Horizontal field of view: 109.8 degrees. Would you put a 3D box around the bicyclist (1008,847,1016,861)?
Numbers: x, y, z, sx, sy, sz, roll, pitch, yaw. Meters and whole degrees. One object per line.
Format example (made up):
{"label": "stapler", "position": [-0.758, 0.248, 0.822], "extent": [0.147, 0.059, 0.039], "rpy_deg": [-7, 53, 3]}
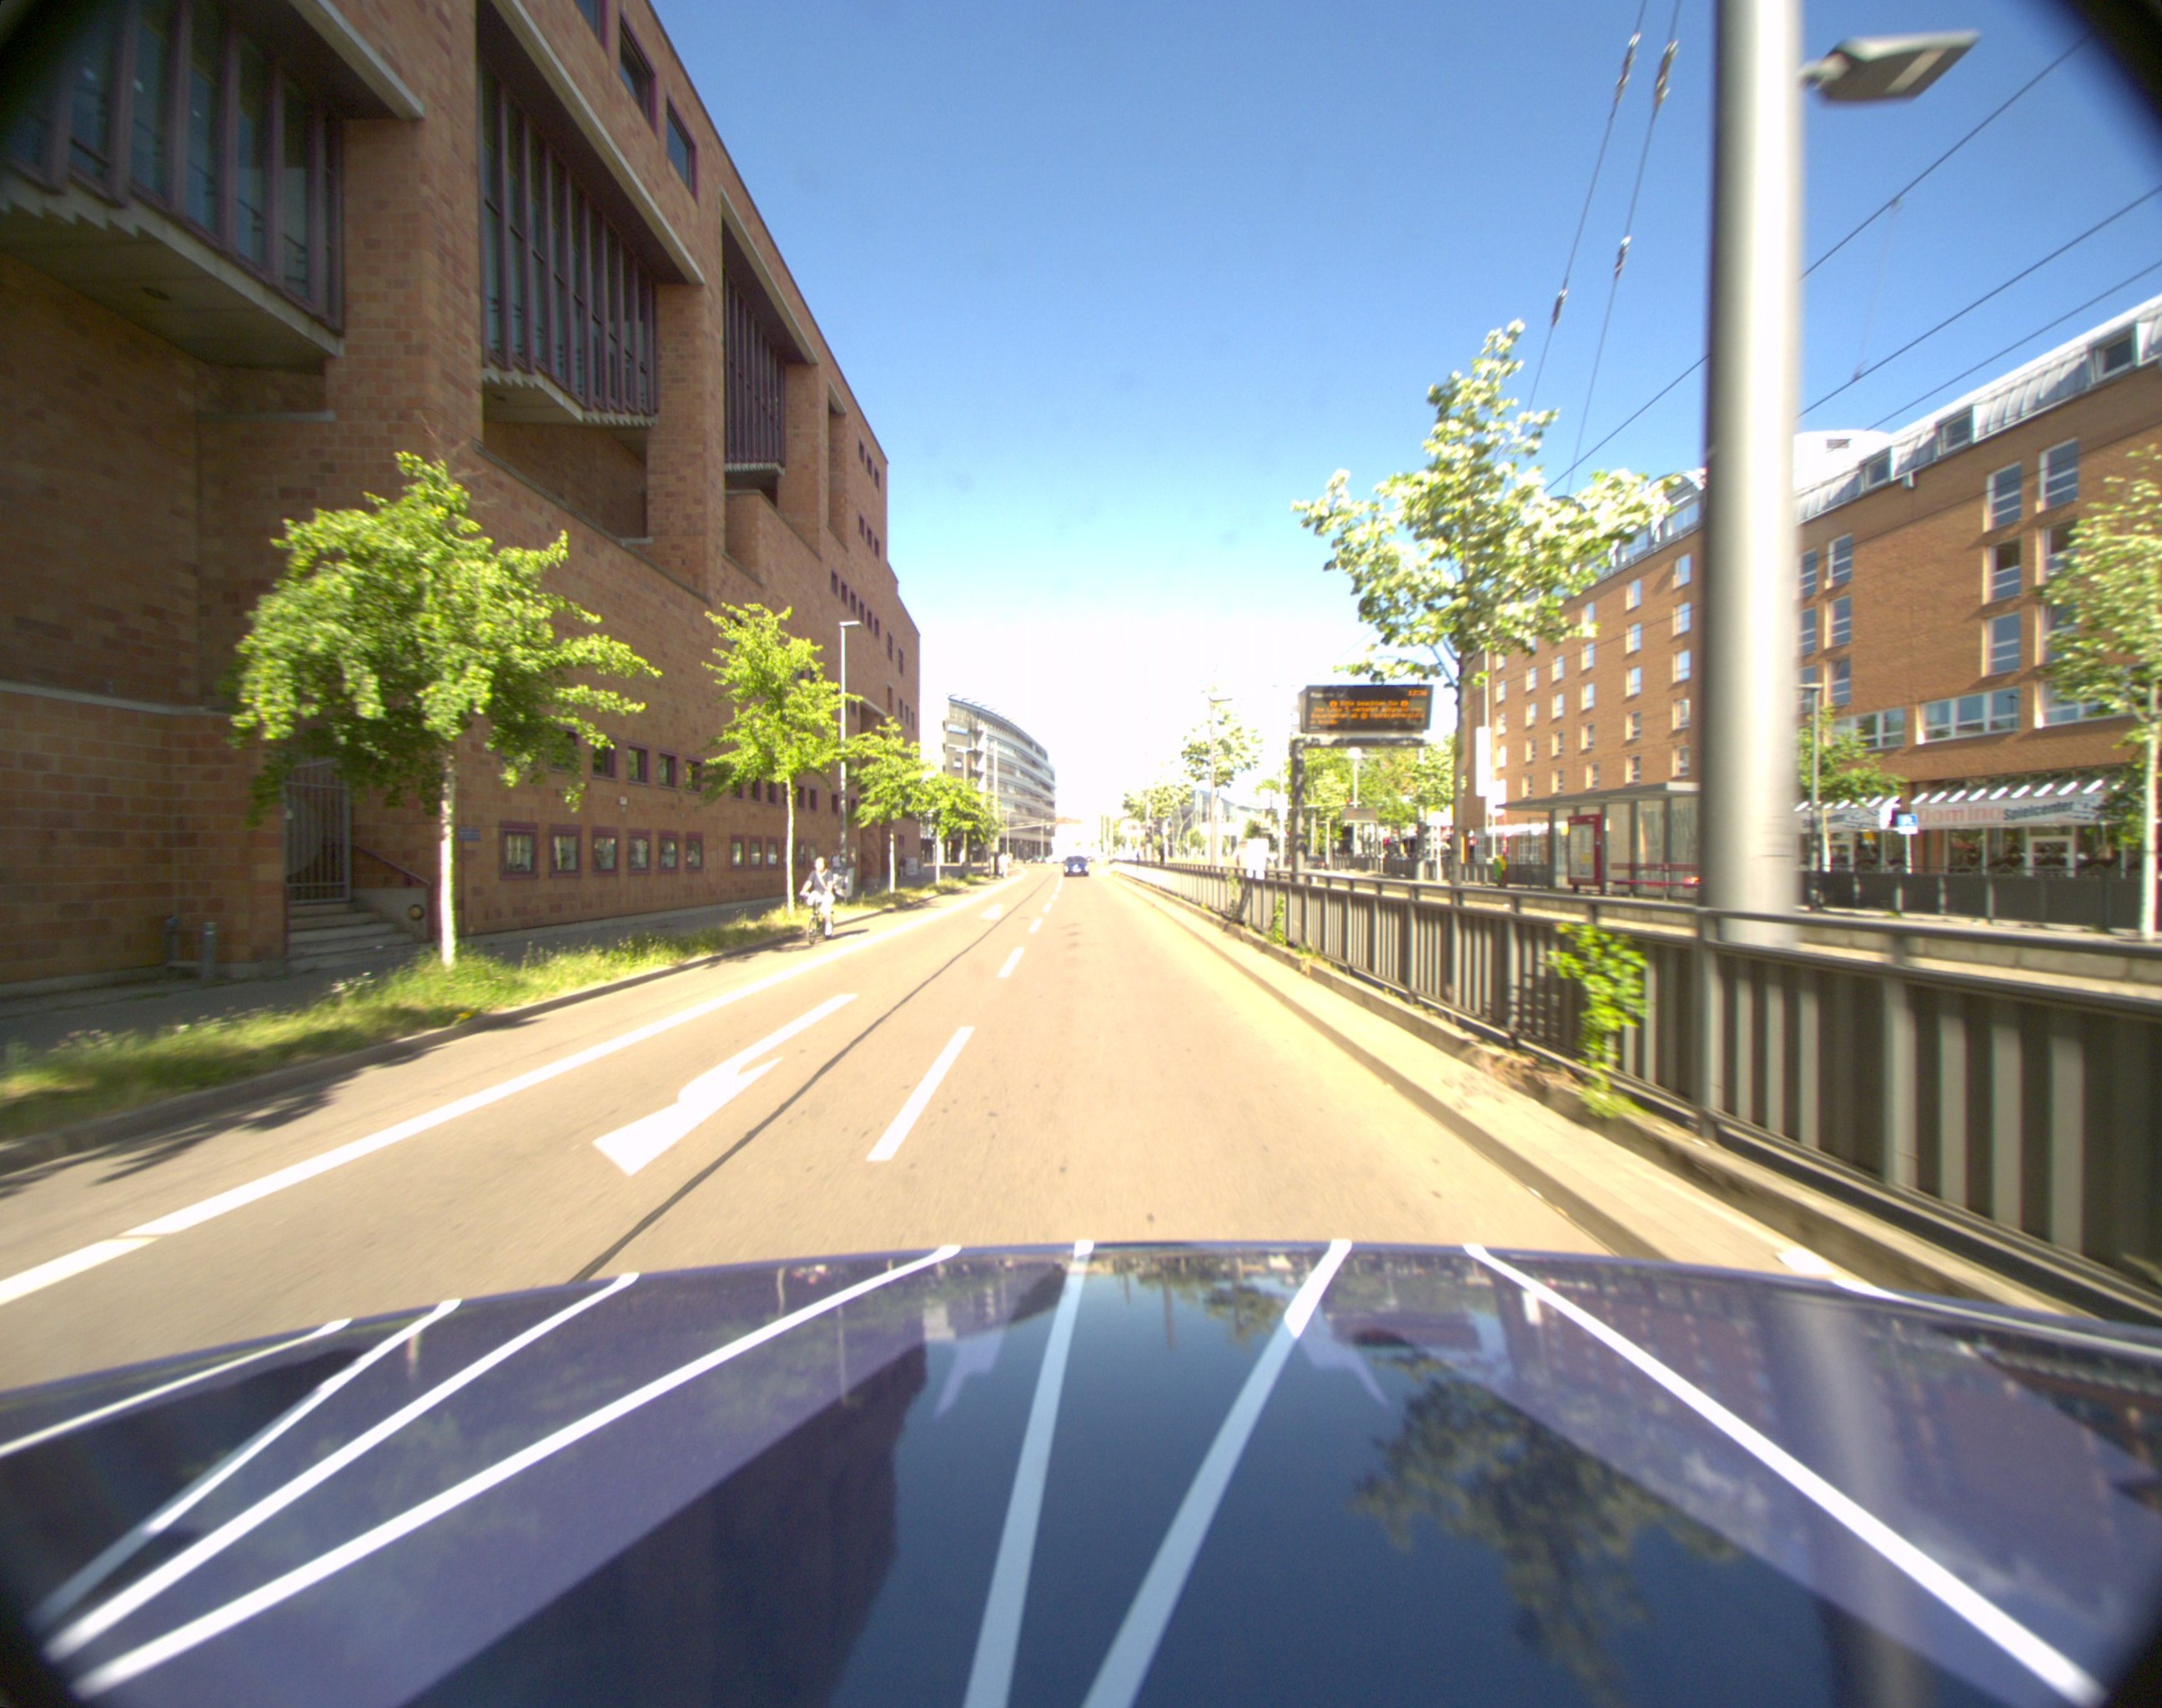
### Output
{"label": "bicyclist", "position": [-7.870, 0.038, 87.211], "extent": [0.755, 1.607, 0.762], "rpy_deg": [-2, 1, 3]}

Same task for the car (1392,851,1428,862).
{"label": "car", "position": [45.682, 0.311, 105.487], "extent": [4.169, 1.499, 1.910], "rpy_deg": [0, 1, 3]}

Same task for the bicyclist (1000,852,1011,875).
{"label": "bicyclist", "position": [-5.647, 0.685, 56.941], "extent": [0.684, 1.718, 0.909], "rpy_deg": [-2, 1, 3]}

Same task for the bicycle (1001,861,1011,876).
{"label": "bicycle", "position": [-5.630, 1.057, 57.116], "extent": [0.578, 1.090, 1.507], "rpy_deg": [-2, 0, 2]}

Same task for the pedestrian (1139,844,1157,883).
{"label": "pedestrian", "position": [2.983, 0.414, 33.728], "extent": [0.748, 1.738, 0.715], "rpy_deg": [0, 1, 0]}

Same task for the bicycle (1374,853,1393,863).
{"label": "bicycle", "position": [32.049, 0.433, 80.477], "extent": [1.838, 1.093, 0.638], "rpy_deg": [0, 1, 9]}

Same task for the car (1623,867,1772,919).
{"label": "car", "position": [21.068, 1.271, 26.193], "extent": [1.883, 1.456, 3.999], "rpy_deg": [-2, 1, -1]}

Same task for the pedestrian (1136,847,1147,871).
{"label": "pedestrian", "position": [4.365, 0.365, 54.719], "extent": [0.649, 1.764, 0.820], "rpy_deg": [0, 1, -3]}

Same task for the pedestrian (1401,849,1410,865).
{"label": "pedestrian", "position": [35.752, 0.345, 83.742], "extent": [0.645, 1.696, 0.728], "rpy_deg": [0, 1, 4]}

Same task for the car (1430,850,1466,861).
{"label": "car", "position": [50.772, 0.247, 105.116], "extent": [3.996, 1.499, 1.910], "rpy_deg": [0, 1, 3]}

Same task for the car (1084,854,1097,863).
{"label": "car", "position": [1.692, 0.820, 139.797], "extent": [1.882, 1.456, 4.002], "rpy_deg": [-1, 1, 8]}

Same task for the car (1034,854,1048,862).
{"label": "car", "position": [-7.270, 0.713, 139.283], "extent": [1.882, 1.456, 4.001], "rpy_deg": [-2, 1, 7]}

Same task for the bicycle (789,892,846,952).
{"label": "bicycle", "position": [-5.143, 1.301, 14.908], "extent": [0.559, 1.021, 1.507], "rpy_deg": [-2, 0, 0]}

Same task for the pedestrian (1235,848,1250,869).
{"label": "pedestrian", "position": [12.754, 0.364, 60.043], "extent": [0.960, 1.680, 1.007], "rpy_deg": [0, 1, 2]}

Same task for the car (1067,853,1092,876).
{"label": "car", "position": [-0.092, 0.744, 56.486], "extent": [1.802, 1.597, 3.999], "rpy_deg": [-2, 1, 0]}

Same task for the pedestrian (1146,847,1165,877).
{"label": "pedestrian", "position": [4.610, 0.488, 47.149], "extent": [0.994, 1.800, 1.022], "rpy_deg": [0, 1, -3]}

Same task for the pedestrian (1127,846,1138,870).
{"label": "pedestrian", "position": [3.705, 0.304, 54.676], "extent": [0.649, 1.733, 0.820], "rpy_deg": [0, 1, -3]}

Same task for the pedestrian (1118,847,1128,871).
{"label": "pedestrian", "position": [2.996, 0.362, 54.350], "extent": [0.649, 1.733, 0.820], "rpy_deg": [0, 1, -3]}

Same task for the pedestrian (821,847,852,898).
{"label": "pedestrian", "position": [-9.048, 0.674, 28.123], "extent": [0.790, 1.872, 1.106], "rpy_deg": [0, 1, 0]}

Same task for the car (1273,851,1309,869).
{"label": "car", "position": [17.908, 0.497, 64.900], "extent": [1.936, 1.489, 4.288], "rpy_deg": [0, 1, 1]}

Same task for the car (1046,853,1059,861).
{"label": "car", "position": [-5.498, 0.540, 146.583], "extent": [1.882, 1.456, 4.001], "rpy_deg": [-2, 1, 7]}

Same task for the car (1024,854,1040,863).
{"label": "car", "position": [-8.443, 0.802, 131.085], "extent": [1.882, 1.456, 4.001], "rpy_deg": [-2, 1, 7]}

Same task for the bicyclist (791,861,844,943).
{"label": "bicyclist", "position": [-5.159, 0.917, 14.940], "extent": [0.659, 1.528, 0.909], "rpy_deg": [-2, 1, 0]}

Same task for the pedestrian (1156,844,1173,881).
{"label": "pedestrian", "position": [3.971, 0.395, 36.181], "extent": [0.710, 1.713, 0.752], "rpy_deg": [0, 1, -1]}

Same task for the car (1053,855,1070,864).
{"label": "car", "position": [-3.345, 0.908, 129.842], "extent": [2.120, 1.547, 4.002], "rpy_deg": [0, 1, 9]}

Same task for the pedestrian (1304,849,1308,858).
{"label": "pedestrian", "position": [36.097, -0.095, 121.851], "extent": [0.663, 1.389, 0.672], "rpy_deg": [0, 1, 12]}

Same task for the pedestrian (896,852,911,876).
{"label": "pedestrian", "position": [-11.752, 0.670, 50.442], "extent": [0.790, 1.610, 0.976], "rpy_deg": [0, 1, -2]}

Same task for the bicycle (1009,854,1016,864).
{"label": "bicycle", "position": [-7.854, 0.562, 87.280], "extent": [0.578, 1.090, 1.507], "rpy_deg": [-2, 0, 3]}

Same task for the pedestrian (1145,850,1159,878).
{"label": "pedestrian", "position": [4.633, 0.627, 49.447], "extent": [0.756, 1.800, 0.840], "rpy_deg": [0, 1, -3]}

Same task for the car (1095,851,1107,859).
{"label": "car", "position": [3.978, 0.185, 151.320], "extent": [1.882, 1.456, 4.001], "rpy_deg": [-2, 1, 7]}

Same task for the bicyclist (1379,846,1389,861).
{"label": "bicyclist", "position": [32.086, -0.050, 80.481], "extent": [0.848, 1.630, 0.779], "rpy_deg": [0, 1, 10]}

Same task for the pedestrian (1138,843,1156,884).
{"label": "pedestrian", "position": [2.998, 0.429, 34.482], "extent": [0.748, 1.874, 0.715], "rpy_deg": [0, 1, 0]}

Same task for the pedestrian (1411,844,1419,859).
{"label": "pedestrian", "position": [37.172, -0.263, 84.524], "extent": [0.645, 1.601, 0.728], "rpy_deg": [0, 1, 4]}
